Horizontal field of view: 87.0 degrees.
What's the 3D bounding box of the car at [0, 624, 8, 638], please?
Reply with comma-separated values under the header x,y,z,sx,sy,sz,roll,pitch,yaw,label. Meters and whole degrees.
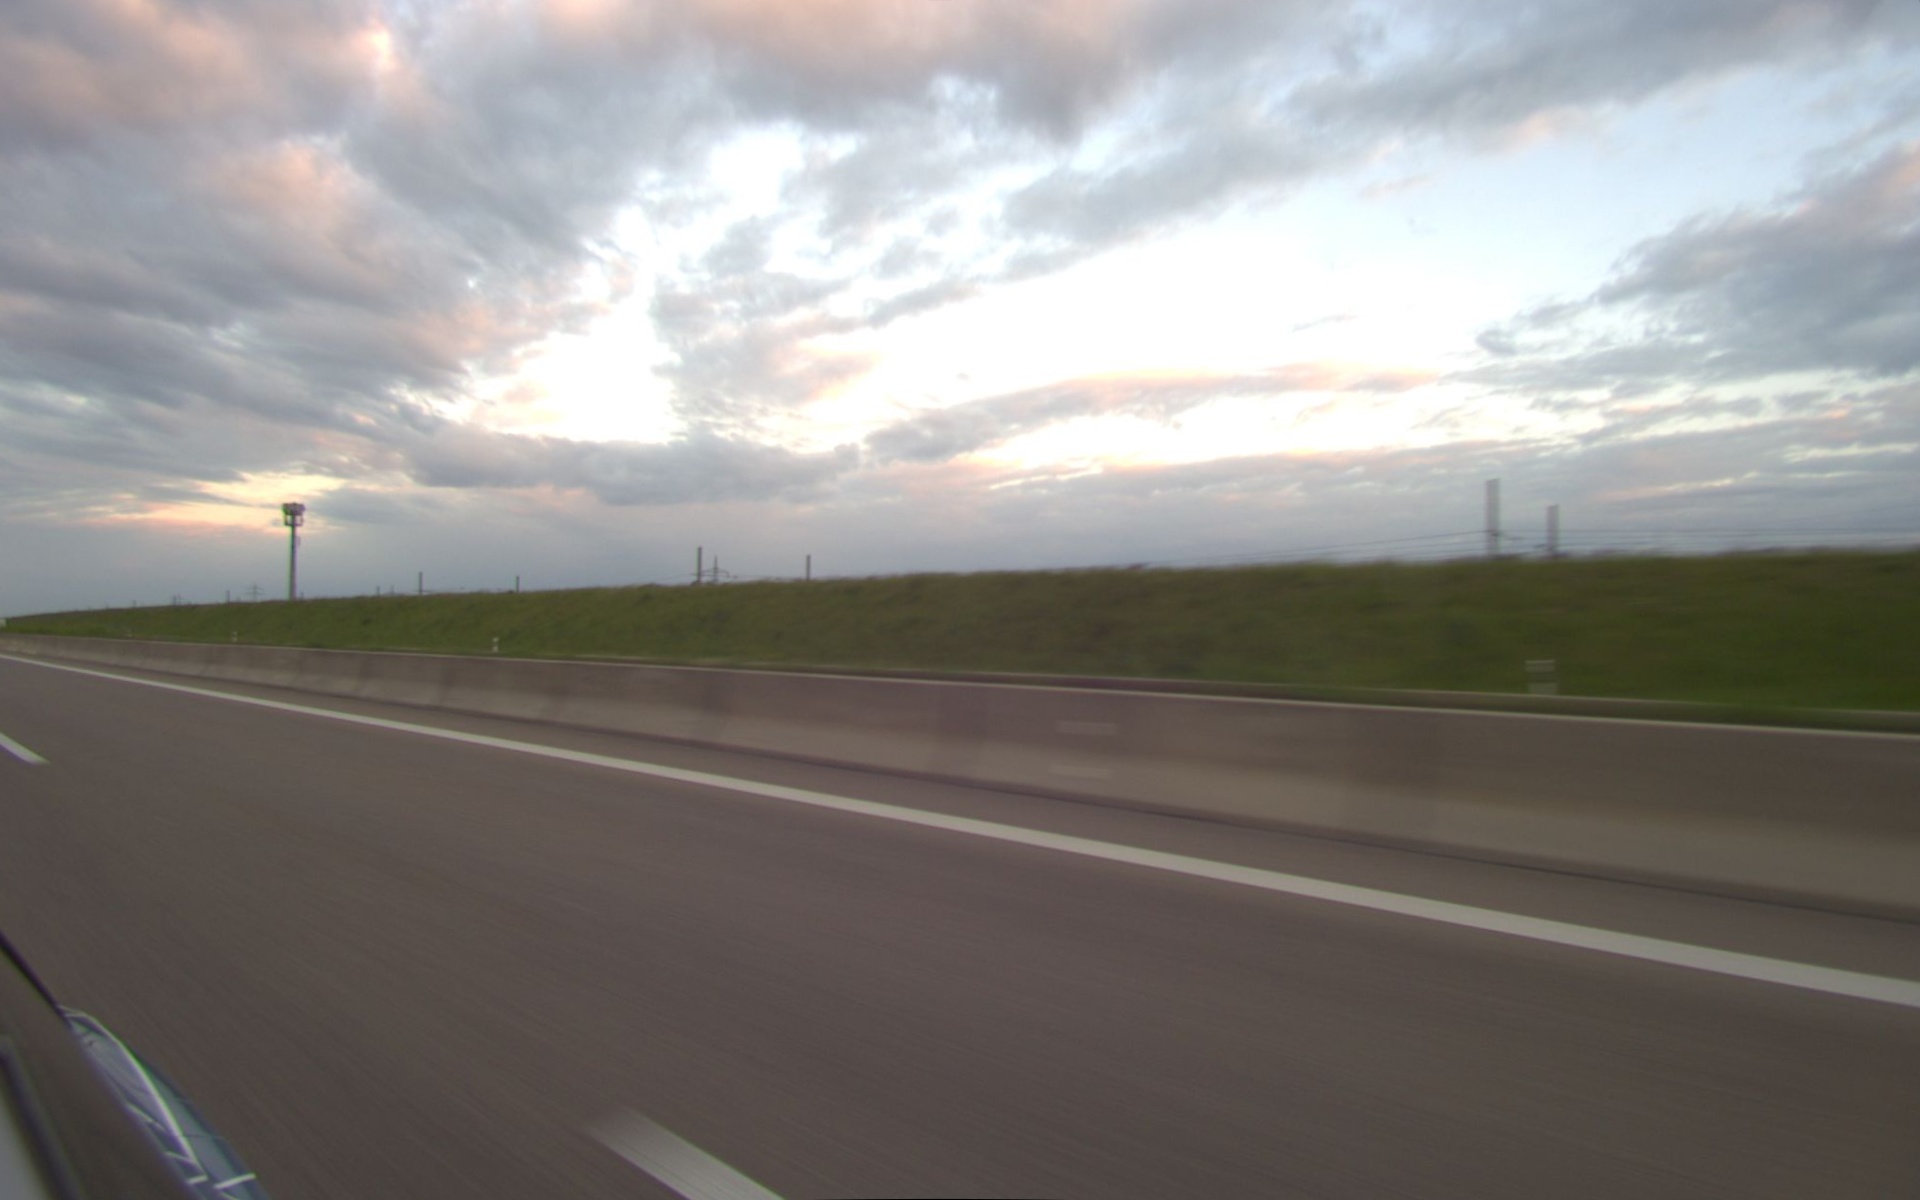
x,y,z,sx,sy,sz,roll,pitch,yaw,label
-178.086,5.733,187.529,7.379,2.566,1.971,-2,-3,44,car
